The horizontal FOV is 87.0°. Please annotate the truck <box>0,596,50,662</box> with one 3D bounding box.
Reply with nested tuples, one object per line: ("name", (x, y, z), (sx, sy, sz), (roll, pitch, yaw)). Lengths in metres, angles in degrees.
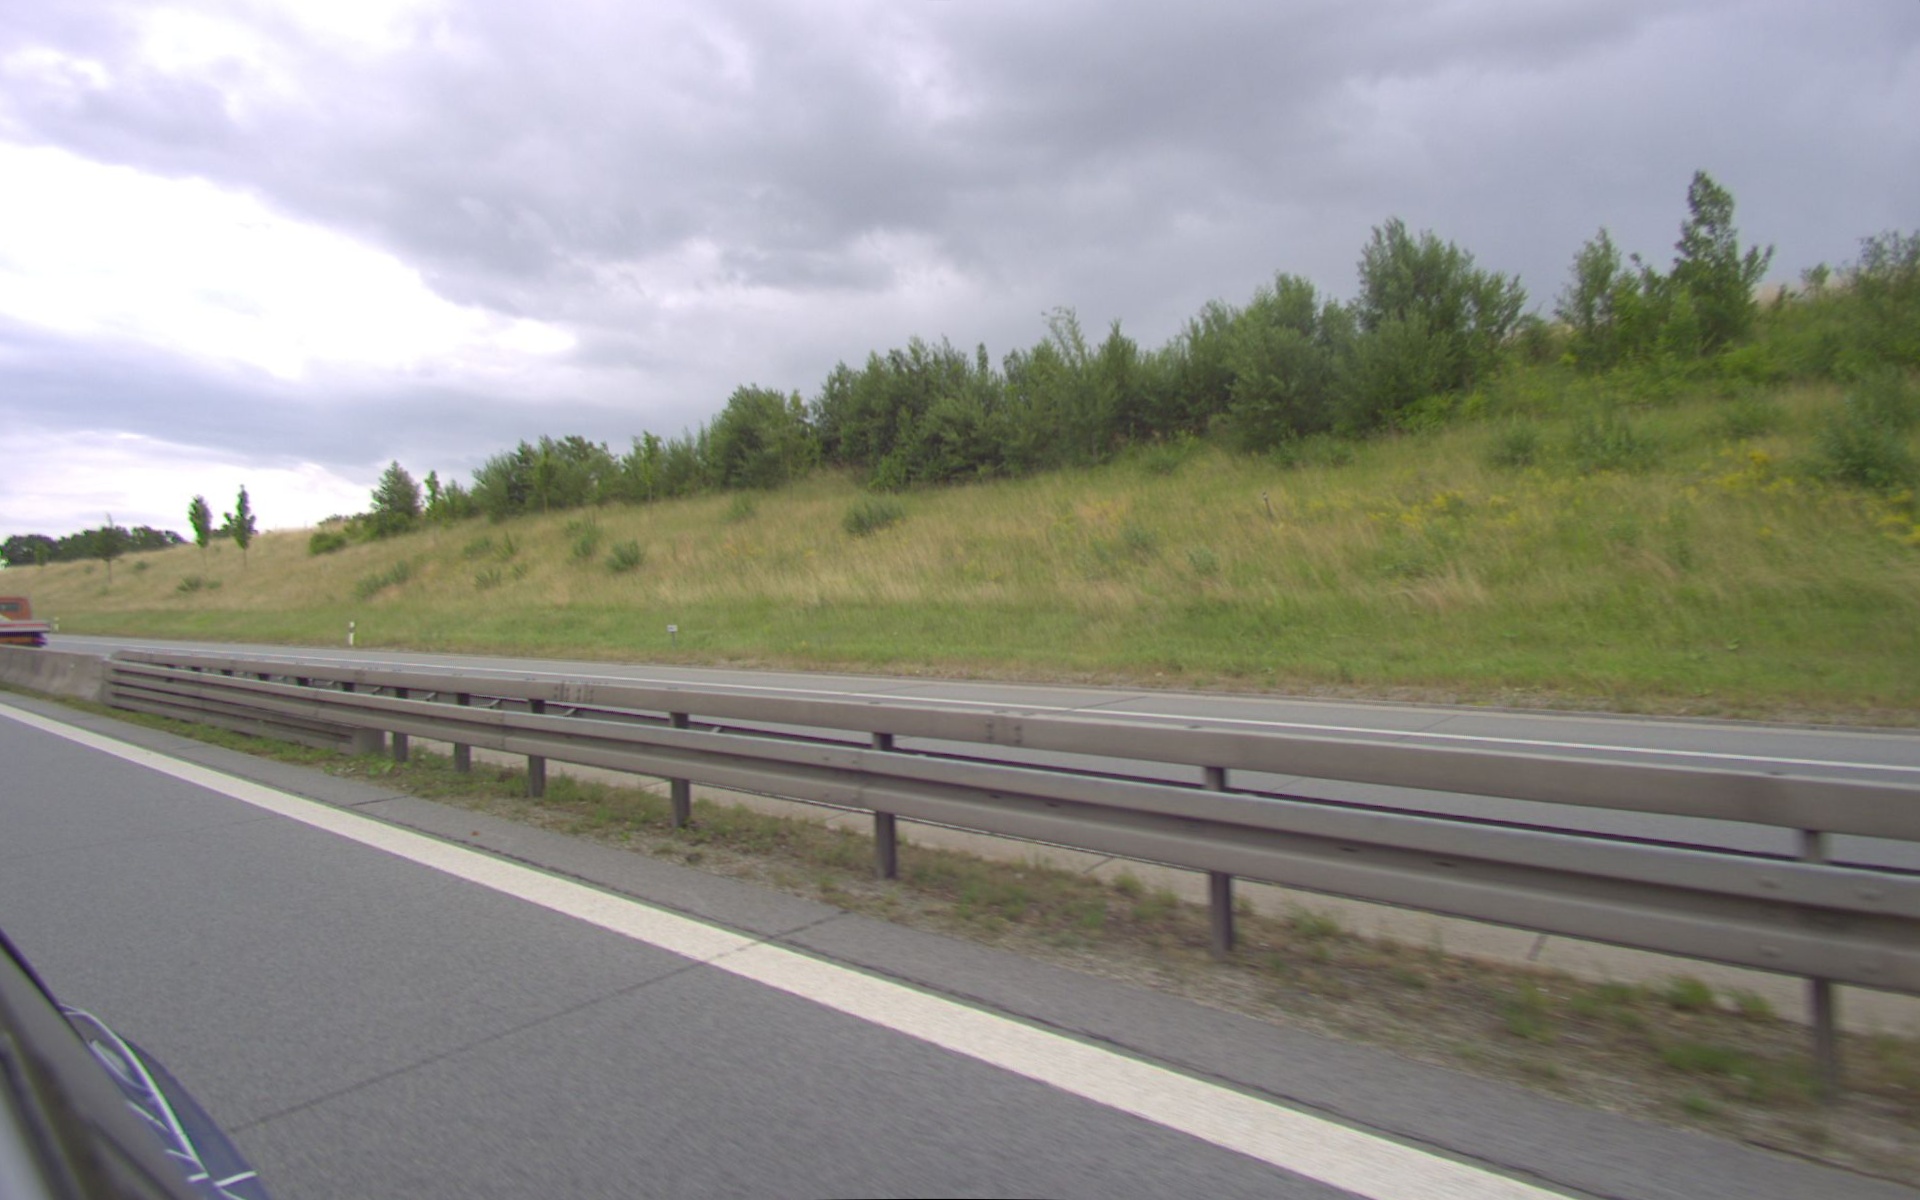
("truck", (-38.928, 1.164, 40.893), (6.546, 2.529, 2.169), (-1, -1, 39))
